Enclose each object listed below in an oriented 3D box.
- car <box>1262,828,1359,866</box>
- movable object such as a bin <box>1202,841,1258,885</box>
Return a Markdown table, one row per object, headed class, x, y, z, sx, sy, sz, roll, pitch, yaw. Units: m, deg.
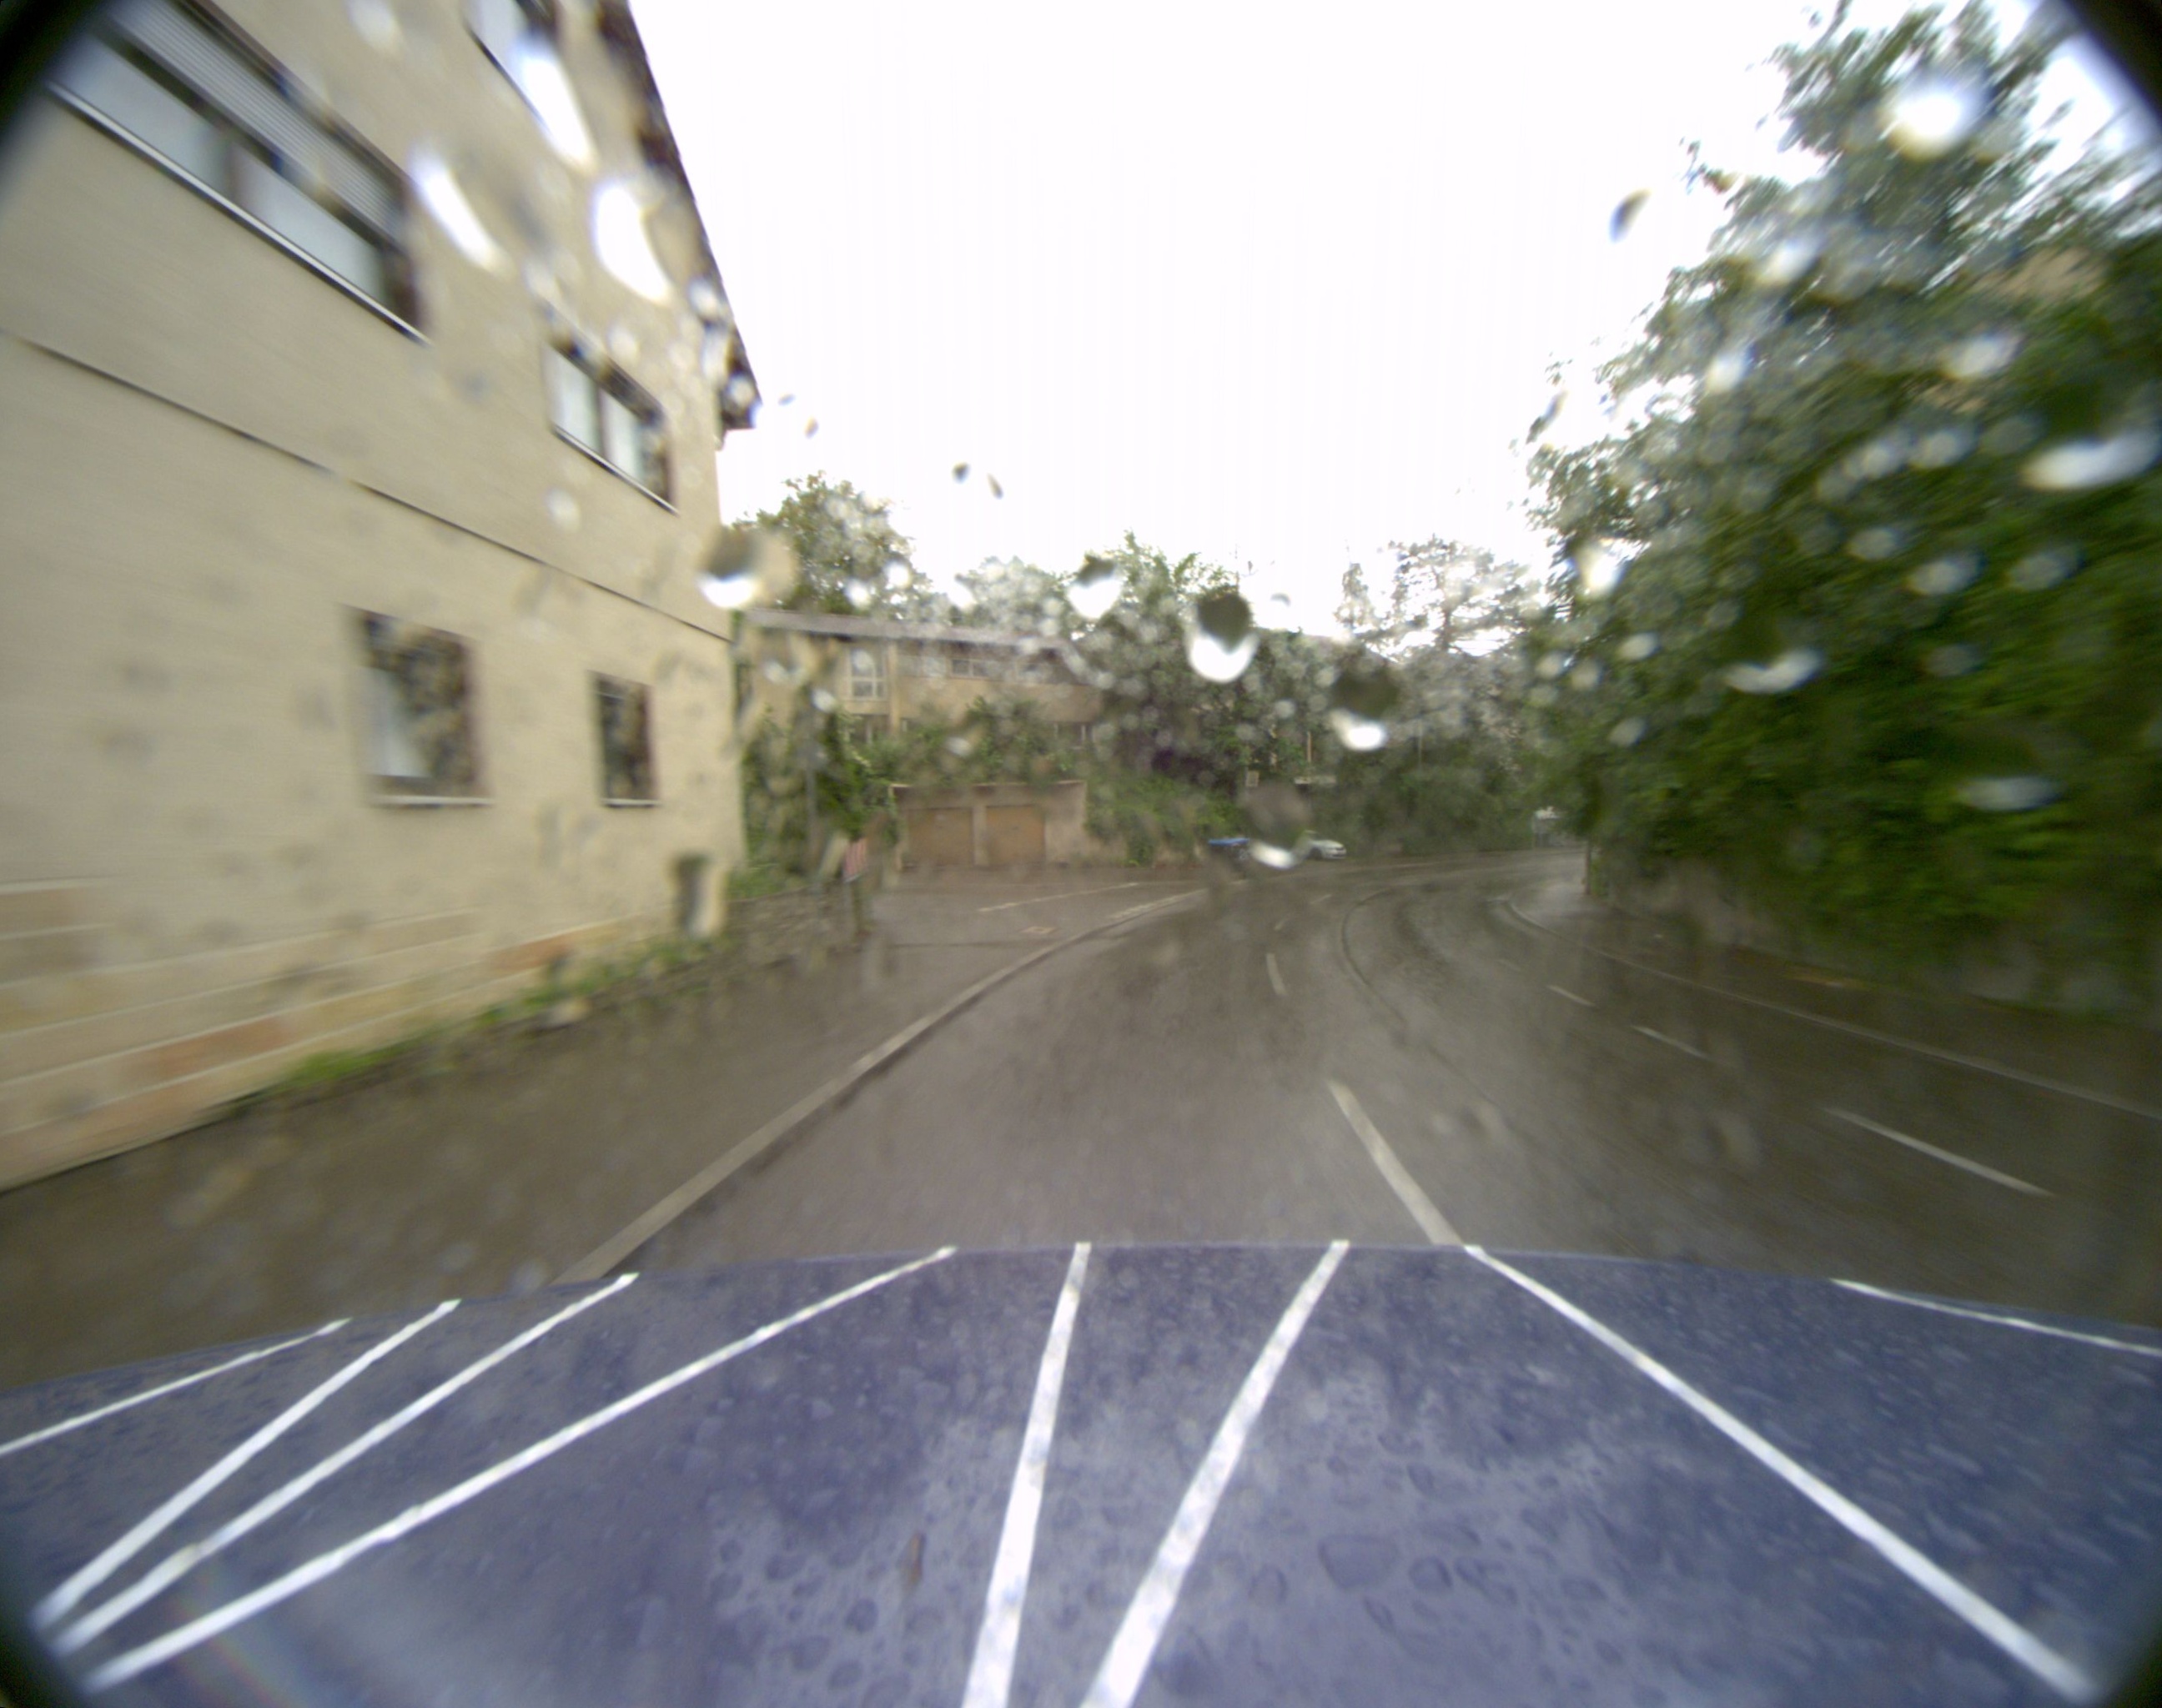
| class | x | y | z | sx | sy | sz | roll | pitch | yaw |
| --- | --- | --- | --- | --- | --- | --- | --- | --- | --- |
| car | 12.050 | -0.426 | 40.178 | 2.004 | 1.545 | 4.548 | -1 | 7 | -37 |
| movable object such as a bin | 5.260 | 0.290 | 26.773 | 1.487 | 1.402 | 1.155 | -1 | 6 | -36 |
